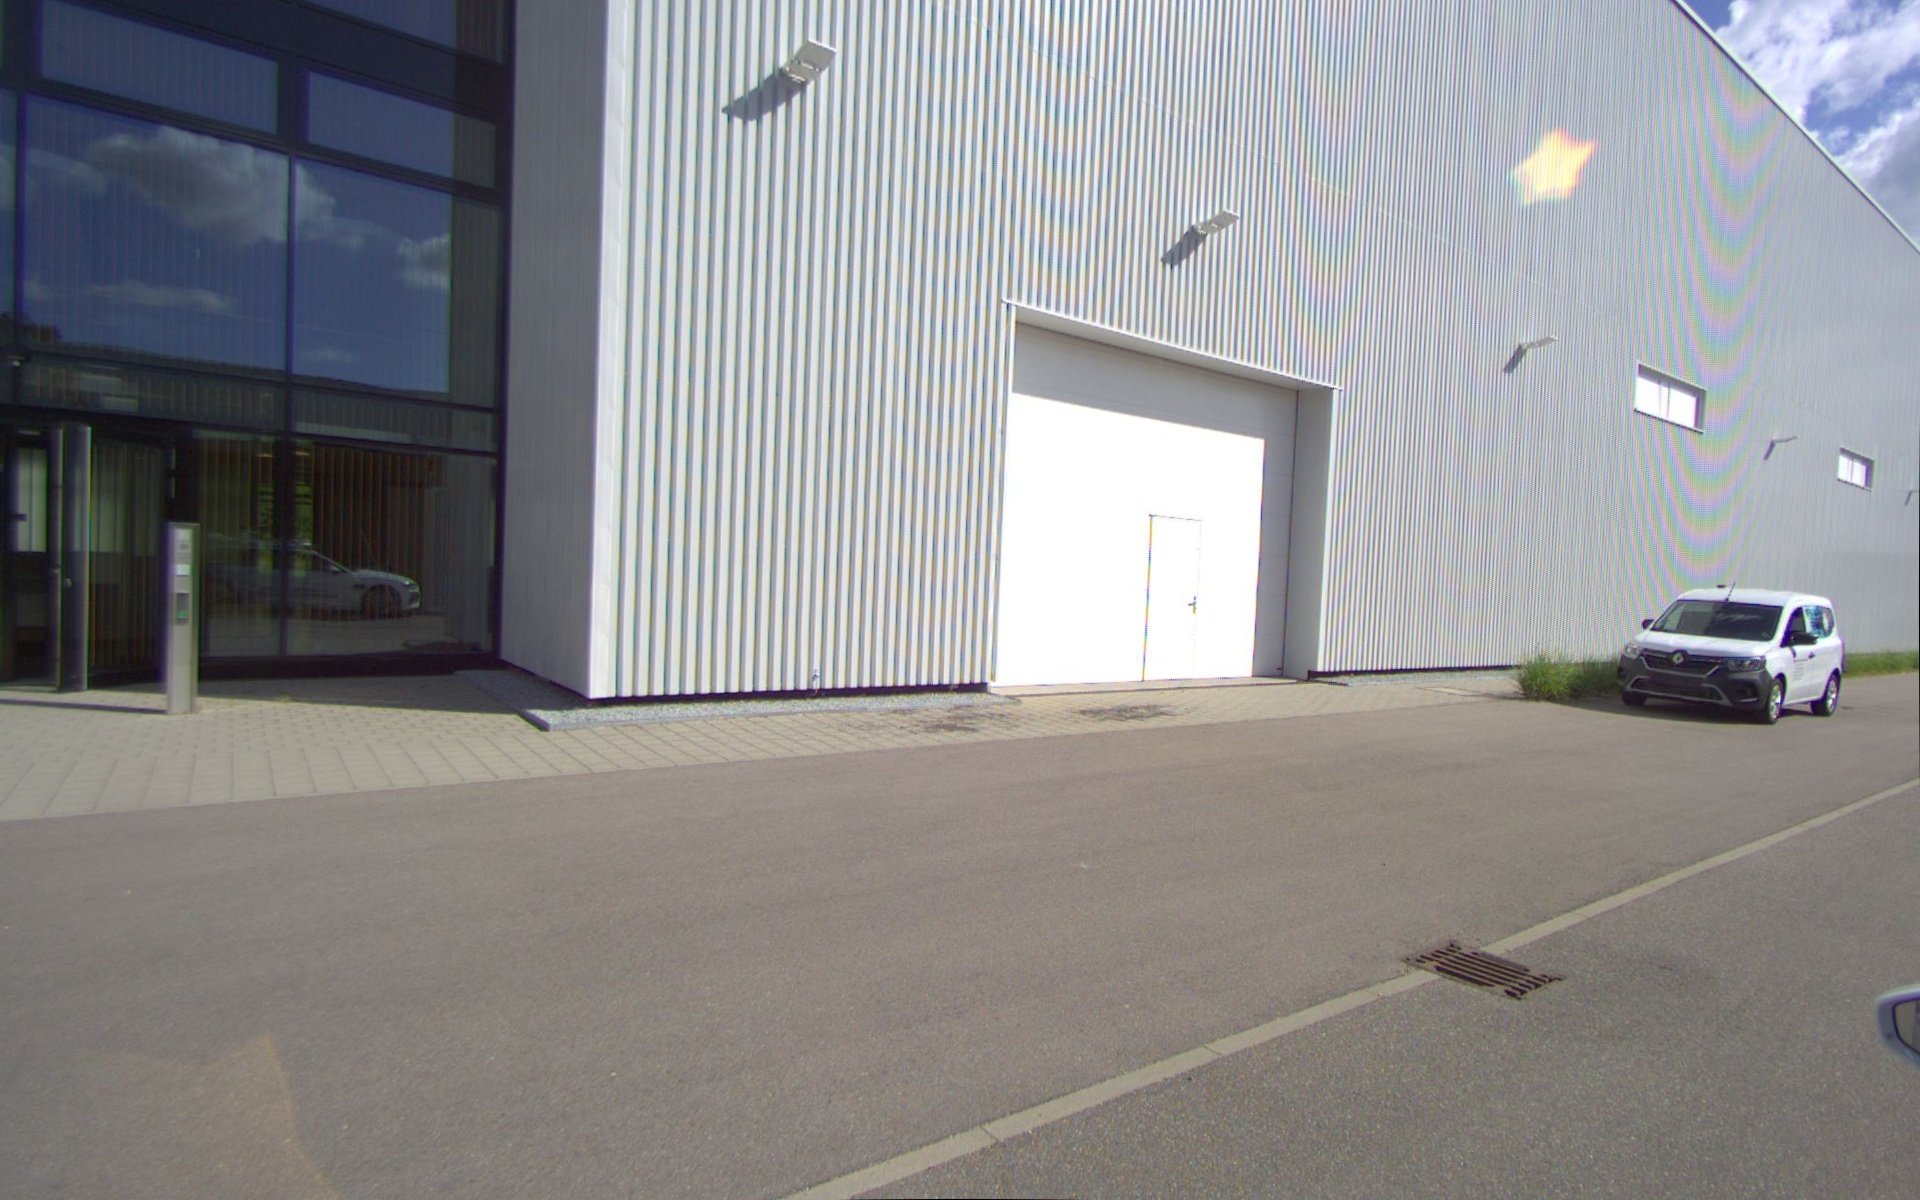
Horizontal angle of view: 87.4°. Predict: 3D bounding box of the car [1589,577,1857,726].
[{"bbox_3d":[11.467,0.690,15.002,4.555,1.814,1.914,1,3,-37],"label":"car"}]
